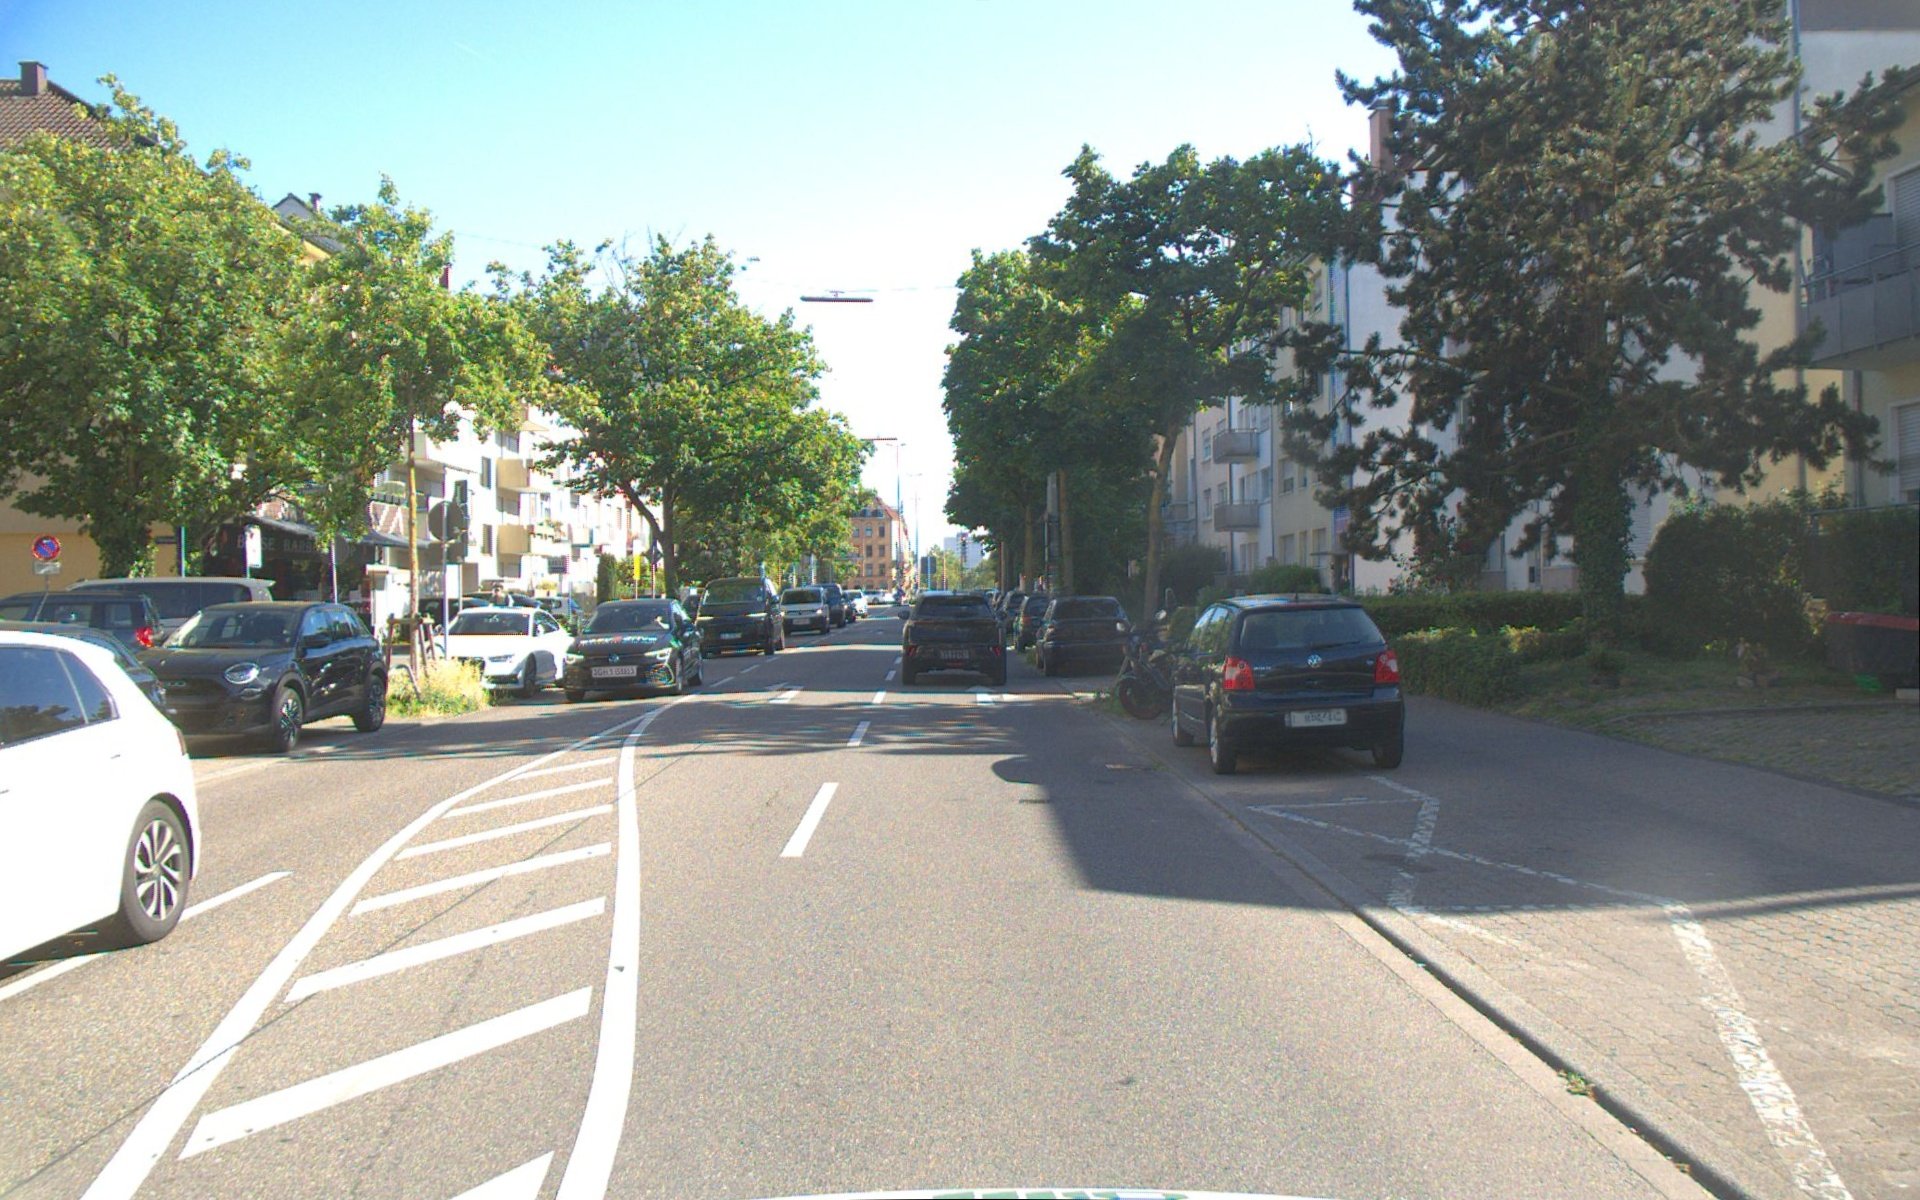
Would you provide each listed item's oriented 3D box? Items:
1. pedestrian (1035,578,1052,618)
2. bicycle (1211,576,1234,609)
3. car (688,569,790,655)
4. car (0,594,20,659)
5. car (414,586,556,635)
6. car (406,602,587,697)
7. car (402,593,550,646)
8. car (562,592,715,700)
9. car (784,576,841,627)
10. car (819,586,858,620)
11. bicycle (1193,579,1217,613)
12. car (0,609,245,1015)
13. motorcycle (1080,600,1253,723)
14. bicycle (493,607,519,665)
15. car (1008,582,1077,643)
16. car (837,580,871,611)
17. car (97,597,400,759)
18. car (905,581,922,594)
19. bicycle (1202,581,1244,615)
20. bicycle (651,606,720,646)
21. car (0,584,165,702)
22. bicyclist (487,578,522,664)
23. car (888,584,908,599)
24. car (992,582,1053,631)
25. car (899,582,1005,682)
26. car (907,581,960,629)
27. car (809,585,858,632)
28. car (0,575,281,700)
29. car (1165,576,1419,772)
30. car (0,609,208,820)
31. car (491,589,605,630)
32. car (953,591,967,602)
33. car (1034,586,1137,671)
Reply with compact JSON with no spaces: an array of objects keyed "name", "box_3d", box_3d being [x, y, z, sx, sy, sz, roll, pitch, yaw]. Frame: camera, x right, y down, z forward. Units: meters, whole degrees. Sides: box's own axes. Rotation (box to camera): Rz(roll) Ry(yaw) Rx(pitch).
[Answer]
[{"name":"pedestrian","box_3d":[3.689,-0.090,73.395,0.656,1.711,0.776,-1,0,-1]},{"name":"bicycle","box_3d":[10.666,-0.313,67.152,0.579,1.309,1.689,-4,0,0]},{"name":"car","box_3d":[-5.622,0.267,42.683,1.976,1.986,5.177,-3,1,-2]},{"name":"car","box_3d":[-23.893,0.679,37.701,3.906,1.467,1.647,-2,1,-1]},{"name":"car","box_3d":[-14.844,0.307,51.790,3.902,1.486,1.734,0,1,8]},{"name":"car","box_3d":[-7.696,0.760,27.940,1.796,1.413,4.801,0,1,-1]},{"name":"car","box_3d":[-14.375,0.559,49.147,3.903,1.481,1.734,0,1,17]},{"name":"car","box_3d":[-5.049,0.665,26.456,1.657,1.478,4.172,-3,1,-2]},{"name":"car","box_3d":[-5.564,0.047,62.864,1.779,1.773,4.492,-3,0,-1]},{"name":"car","box_3d":[-6.163,0.135,84.076,1.684,1.593,4.342,-4,1,-1]},{"name":"bicycle","box_3d":[9.952,-0.168,67.225,0.610,1.309,1.842,-4,0,0]},{"name":"car","box_3d":[-4.349,0.831,5.962,1.698,1.437,4.191,-3,0,-1]},{"name":"motorcycle","box_3d":[2.340,0.680,19.149,0.690,1.294,2.409,-3,1,-28]},{"name":"bicycle","box_3d":[-10.011,0.772,36.493,0.440,1.213,2.185,-1,0,-13]},{"name":"car","box_3d":[2.092,0.285,42.710,1.657,1.453,4.148,-2,0,2]},{"name":"car","box_3d":[-6.250,-0.289,97.995,1.770,1.676,4.671,-3,1,-2]},{"name":"car","box_3d":[-7.784,0.773,18.522,1.643,1.582,4.008,0,1,0]},{"name":"car","box_3d":[-5.228,-1.407,185.759,1.735,1.478,3.886,-1,1,1]},{"name":"bicycle","box_3d":[10.416,-0.069,65.557,1.506,1.244,0.463,-4,0,30]},{"name":"bicycle","box_3d":[-7.786,0.736,46.816,1.982,1.111,0.462,0,1,22]},{"name":"car","box_3d":[-13.929,0.615,24.476,3.858,1.673,1.667,-1,1,-25]},{"name":"bicyclist","box_3d":[-10.074,0.460,36.596,0.647,1.856,1.051,-1,0,-12]},{"name":"car","box_3d":[-6.149,-0.832,163.516,1.735,1.478,3.886,-1,1,1]},{"name":"car","box_3d":[2.046,0.196,55.094,1.680,1.515,4.232,-2,0,-2]},{"name":"car","box_3d":[-0.153,0.506,28.542,1.710,1.601,3.557,0,0,-1]},{"name":"car","box_3d":[-0.930,0.156,59.572,1.792,1.606,3.839,-1,1,0]},{"name":"car","box_3d":[-5.609,0.348,73.725,1.767,1.944,4.711,-3,0,-1]},{"name":"car","box_3d":[-13.596,0.556,27.364,4.262,1.911,1.864,-1,1,-27]},{"name":"car","box_3d":[2.894,0.574,15.117,1.587,1.525,3.649,-2,1,0]},{"name":"car","box_3d":[-7.716,0.837,13.201,1.603,1.441,4.089,1,0,-1]},{"name":"car","box_3d":[-15.716,0.368,63.199,3.906,1.512,1.880,0,1,-2]},{"name":"car","box_3d":[-0.014,-0.548,246.894,1.952,1.546,4.000,1,0,1]},{"name":"car","box_3d":[2.321,0.487,31.530,1.554,1.420,4.454,-3,1,0]}]
